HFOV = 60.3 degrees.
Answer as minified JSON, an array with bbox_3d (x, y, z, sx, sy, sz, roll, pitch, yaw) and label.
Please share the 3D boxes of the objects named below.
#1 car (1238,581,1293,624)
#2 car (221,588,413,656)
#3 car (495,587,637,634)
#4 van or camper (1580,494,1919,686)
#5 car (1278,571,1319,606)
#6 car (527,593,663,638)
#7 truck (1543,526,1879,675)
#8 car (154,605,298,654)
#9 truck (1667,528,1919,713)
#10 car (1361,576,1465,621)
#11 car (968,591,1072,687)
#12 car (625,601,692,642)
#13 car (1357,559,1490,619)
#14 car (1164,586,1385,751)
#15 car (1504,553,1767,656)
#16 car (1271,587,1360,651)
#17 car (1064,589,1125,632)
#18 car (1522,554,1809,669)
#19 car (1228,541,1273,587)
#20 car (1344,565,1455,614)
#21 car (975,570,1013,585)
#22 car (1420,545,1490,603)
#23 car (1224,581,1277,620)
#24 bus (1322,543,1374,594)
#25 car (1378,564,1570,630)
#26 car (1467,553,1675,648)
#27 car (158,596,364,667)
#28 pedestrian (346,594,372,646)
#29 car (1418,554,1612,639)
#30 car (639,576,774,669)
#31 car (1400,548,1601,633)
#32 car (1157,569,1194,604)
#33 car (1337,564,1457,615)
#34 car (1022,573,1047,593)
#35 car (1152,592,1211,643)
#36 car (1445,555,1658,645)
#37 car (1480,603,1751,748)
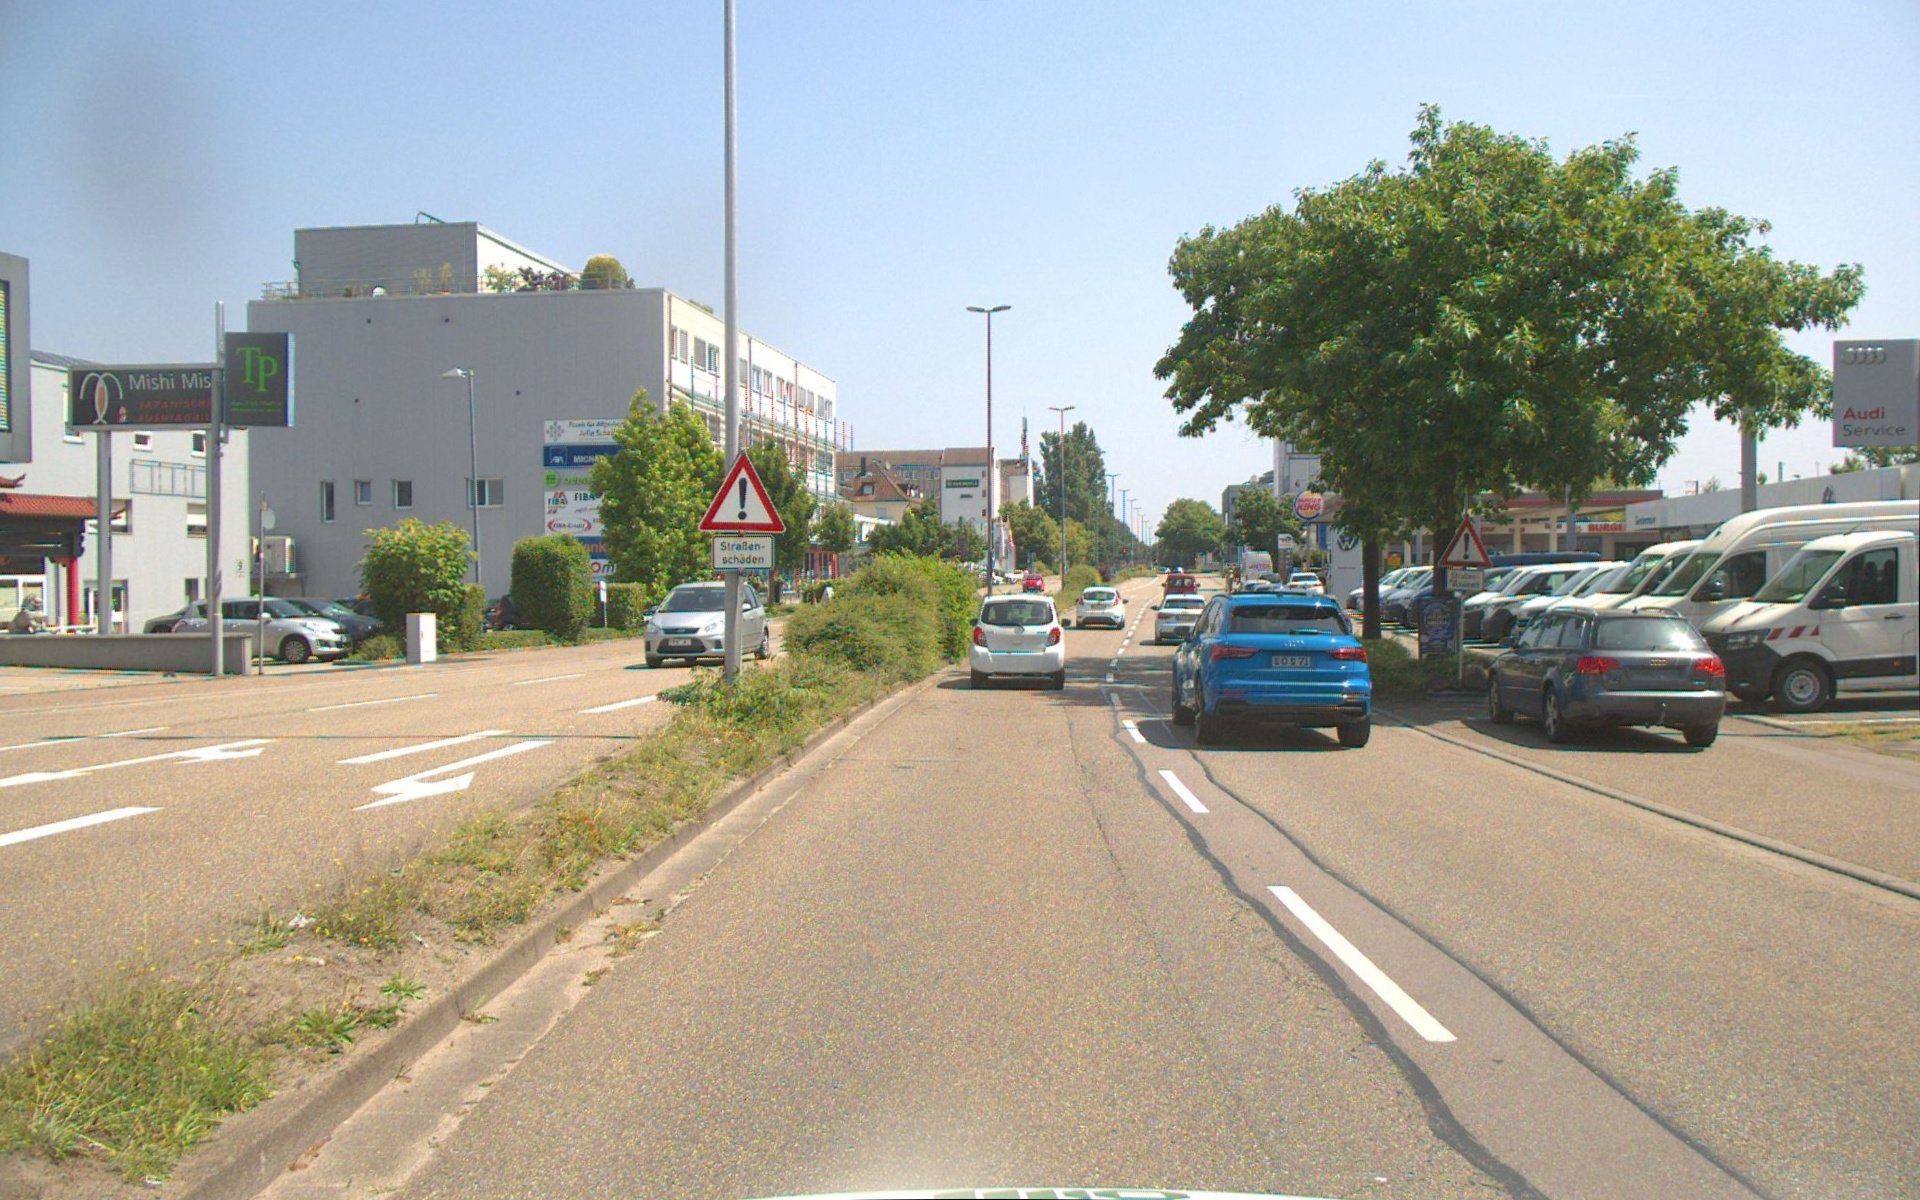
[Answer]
[{"bbox_3d":[12.065,0.075,65.586,1.677,1.575,4.794,-1,0,5],"label":"car"},{"bbox_3d":[-15.309,0.518,39.476,3.911,1.395,1.671,-2,1,9],"label":"car"},{"bbox_3d":[-12.912,0.341,54.412,4.061,1.365,2.044,-2,1,5],"label":"car"},{"bbox_3d":[13.988,-0.182,27.290,6.652,2.948,2.277,-1,1,6],"label":"van or camper"},{"bbox_3d":[17.167,-0.611,83.993,1.631,1.623,4.617,-2,1,7],"label":"car"},{"bbox_3d":[-12.607,0.531,57.215,4.134,1.372,1.982,-2,1,6],"label":"car"},{"bbox_3d":[13.572,0.009,30.203,5.135,2.478,2.113,-2,1,8],"label":"truck"},{"bbox_3d":[-24.425,0.969,55.110,3.889,1.493,1.965,-1,1,2],"label":"car"},{"bbox_3d":[13.312,0.190,22.790,6.112,2.377,2.371,-2,1,8],"label":"truck"},{"bbox_3d":[16.459,-0.065,60.217,3.553,1.598,1.718,1,1,13],"label":"car"},{"bbox_3d":[1.031,0.660,28.606,1.677,1.537,3.247,1,-1,2],"label":"car"},{"bbox_3d":[-12.508,0.883,68.821,1.624,1.493,3.801,-3,1,6],"label":"car"},{"bbox_3d":[17.555,-0.418,62.784,4.542,2.048,1.962,-2,1,5],"label":"car"},{"bbox_3d":[3.443,0.678,18.886,1.873,1.625,4.397,1,0,3],"label":"car"},{"bbox_3d":[14.453,0.088,35.649,4.808,2.005,2.143,-2,0,7],"label":"car"},{"bbox_3d":[8.874,0.438,41.582,1.646,1.460,4.442,-1,0,5],"label":"car"},{"bbox_3d":[4.813,0.378,59.464,1.793,1.475,3.999,1,0,-1],"label":"car"},{"bbox_3d":[13.958,0.210,32.985,4.843,2.150,2.161,-1,1,6],"label":"car"},{"bbox_3d":[20.232,-2.482,115.506,2.089,2.888,7.313,-5,0,4],"label":"car"},{"bbox_3d":[17.818,-0.413,67.143,4.062,1.812,1.882,-2,-1,6],"label":"car"},{"bbox_3d":[3.766,-2.466,183.281,3.902,1.579,1.867,1,-1,10],"label":"car"},{"bbox_3d":[24.841,-1.338,83.242,2.208,2.722,7.024,-1,1,7],"label":"car"},{"bbox_3d":[12.421,0.002,70.920,1.696,1.579,4.182,0,1,2],"label":"car"},{"bbox_3d":[25.630,-2.175,109.678,2.744,3.132,12.298,0,2,11],"label":"bus"},{"bbox_3d":[16.904,-0.114,54.716,5.768,2.049,2.261,1,0,9],"label":"car"},{"bbox_3d":[15.153,0.022,41.255,4.414,2.049,2.200,-3,-1,8],"label":"car"},{"bbox_3d":[-15.470,0.702,36.721,3.904,1.485,1.576,-1,-1,2],"label":"car"},{"bbox_3d":[-19.852,0.655,54.638,0.534,1.686,0.625,1,-1,6],"label":"pedestrian"},{"bbox_3d":[15.607,-0.120,46.759,4.796,2.151,2.131,-2,1,6],"label":"car"},{"bbox_3d":[-4.951,0.409,32.831,1.743,1.657,4.341,-2,0,3],"label":"car"},{"bbox_3d":[16.823,-0.293,51.776,5.718,2.568,2.206,1,-1,10],"label":"car"},{"bbox_3d":[11.335,-0.694,87.190,1.757,1.759,3.975,1,0,5],"label":"car"},{"bbox_3d":[17.831,-0.424,67.612,4.459,1.921,1.858,-2,-1,6],"label":"car"},{"bbox_3d":[6.060,-1.374,134.095,1.596,1.448,3.453,-3,0,9],"label":"car"},{"bbox_3d":[6.432,0.499,48.280,1.631,1.424,3.796,0,0,7],"label":"car"},{"bbox_3d":[15.761,0.003,44.274,4.957,2.133,2.042,-3,0,6],"label":"car"},{"bbox_3d":[7.416,0.779,19.162,1.759,1.430,4.323,1,0,5],"label":"car"}]
